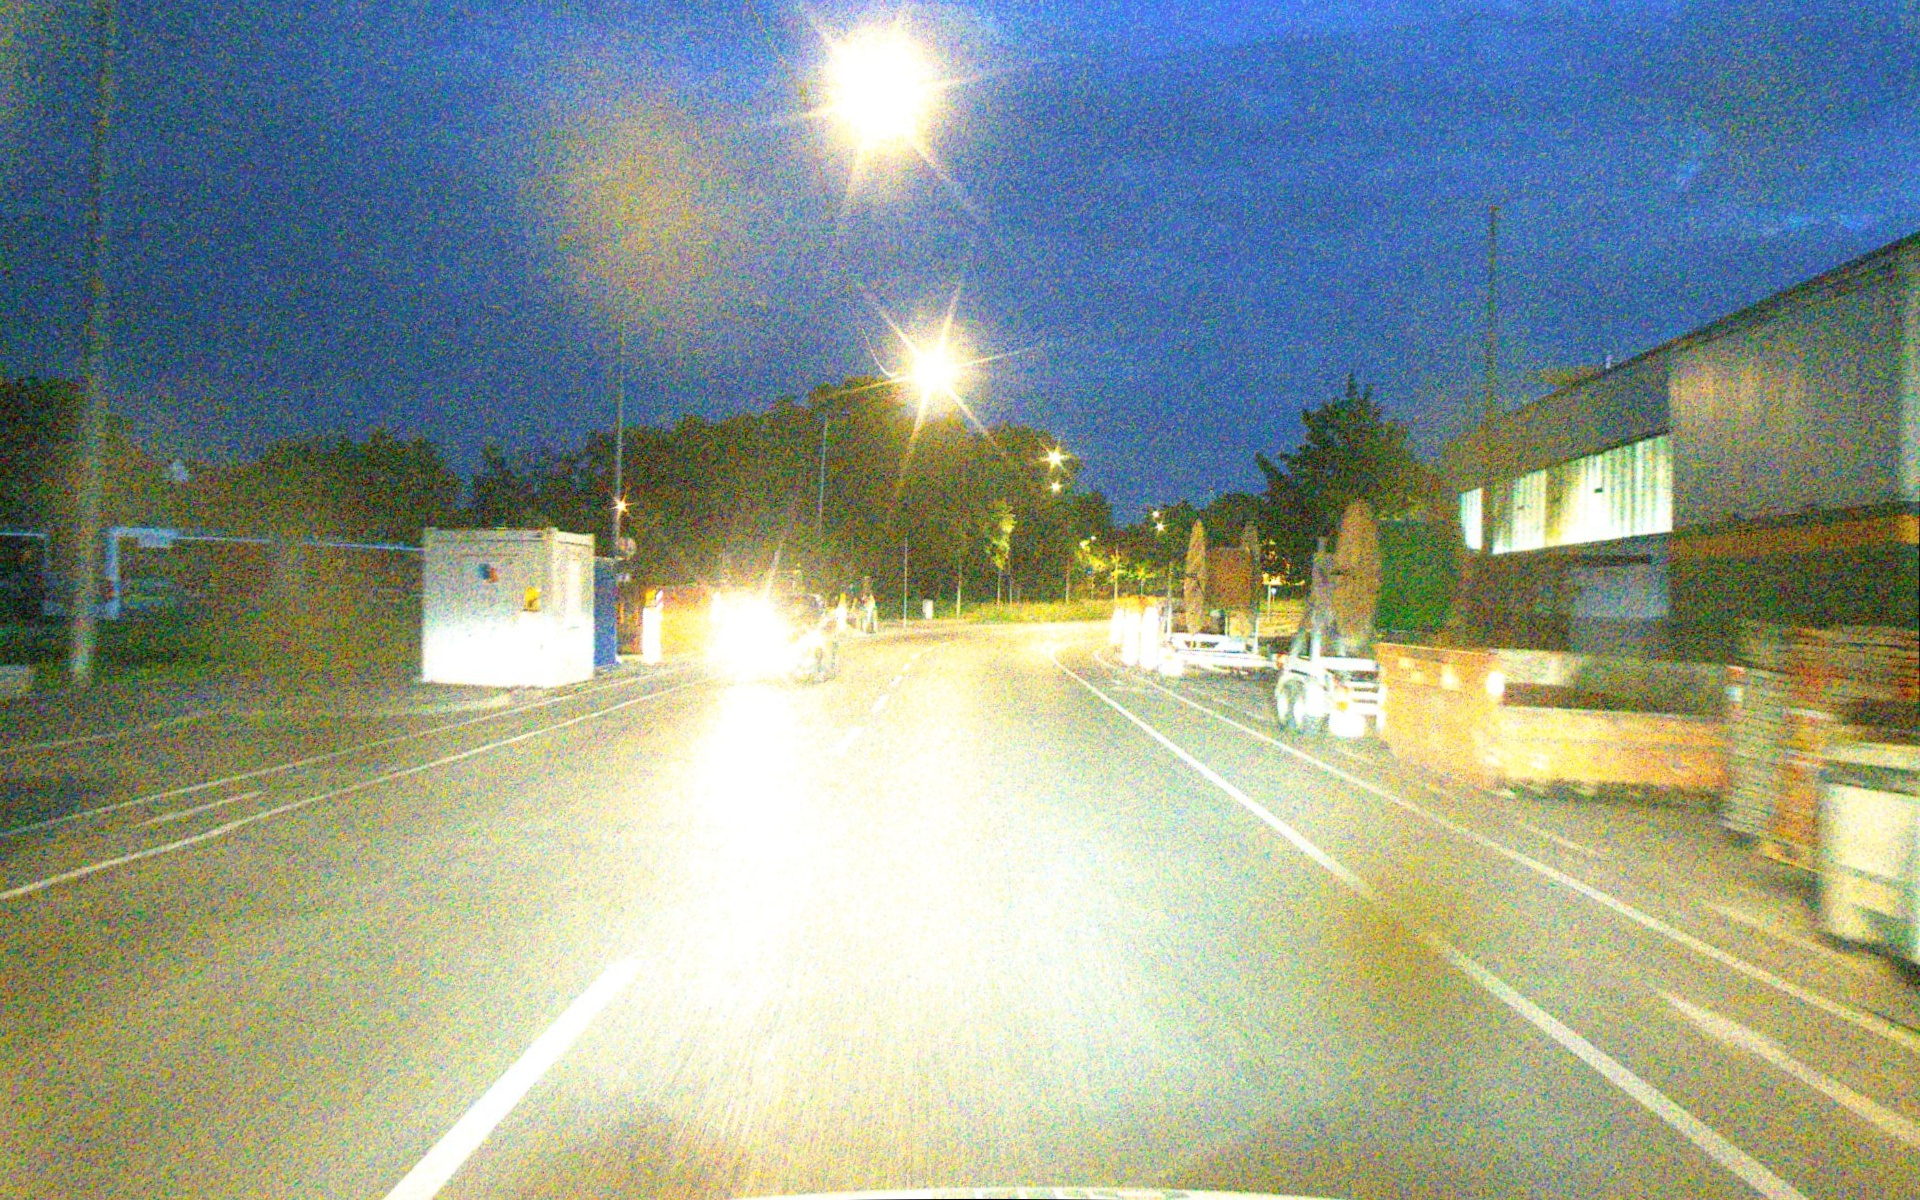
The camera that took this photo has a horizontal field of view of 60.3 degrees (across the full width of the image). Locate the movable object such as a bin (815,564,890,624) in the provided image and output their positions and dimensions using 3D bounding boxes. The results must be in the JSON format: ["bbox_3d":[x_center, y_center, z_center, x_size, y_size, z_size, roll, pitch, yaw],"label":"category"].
[{"bbox_3d":[-4.460,-0.275,69.478,1.951,2.418,4.706,0,0,12],"label":"movable object such as a bin"}]

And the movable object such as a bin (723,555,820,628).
[{"bbox_3d":[-6.467,-0.299,57.256,1.951,2.418,4.706,0,0,12],"label":"movable object such as a bin"}]

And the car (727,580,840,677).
[{"bbox_3d":[-3.105,0.460,29.561,1.662,1.604,2.957,-1,1,0],"label":"car"}]

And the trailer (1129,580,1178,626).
[{"bbox_3d":[6.381,0.076,54.854,1.217,1.459,3.728,1,1,1],"label":"trailer"}]

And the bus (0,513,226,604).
[{"bbox_3d":[-31.900,-1.428,57.672,2.888,3.034,12.255,1,1,29],"label":"bus"}]

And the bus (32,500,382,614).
[{"bbox_3d":[-23.937,-1.345,53.903,2.948,3.260,12.682,1,1,15],"label":"bus"}]

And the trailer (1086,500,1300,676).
[{"bbox_3d":[4.726,-0.232,34.605,3.412,3.275,4.861,3,0,-4],"label":"trailer"}]

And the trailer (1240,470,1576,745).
[{"bbox_3d":[5.307,0.083,20.443,2.562,2.895,4.706,2,0,-3],"label":"trailer"}]
